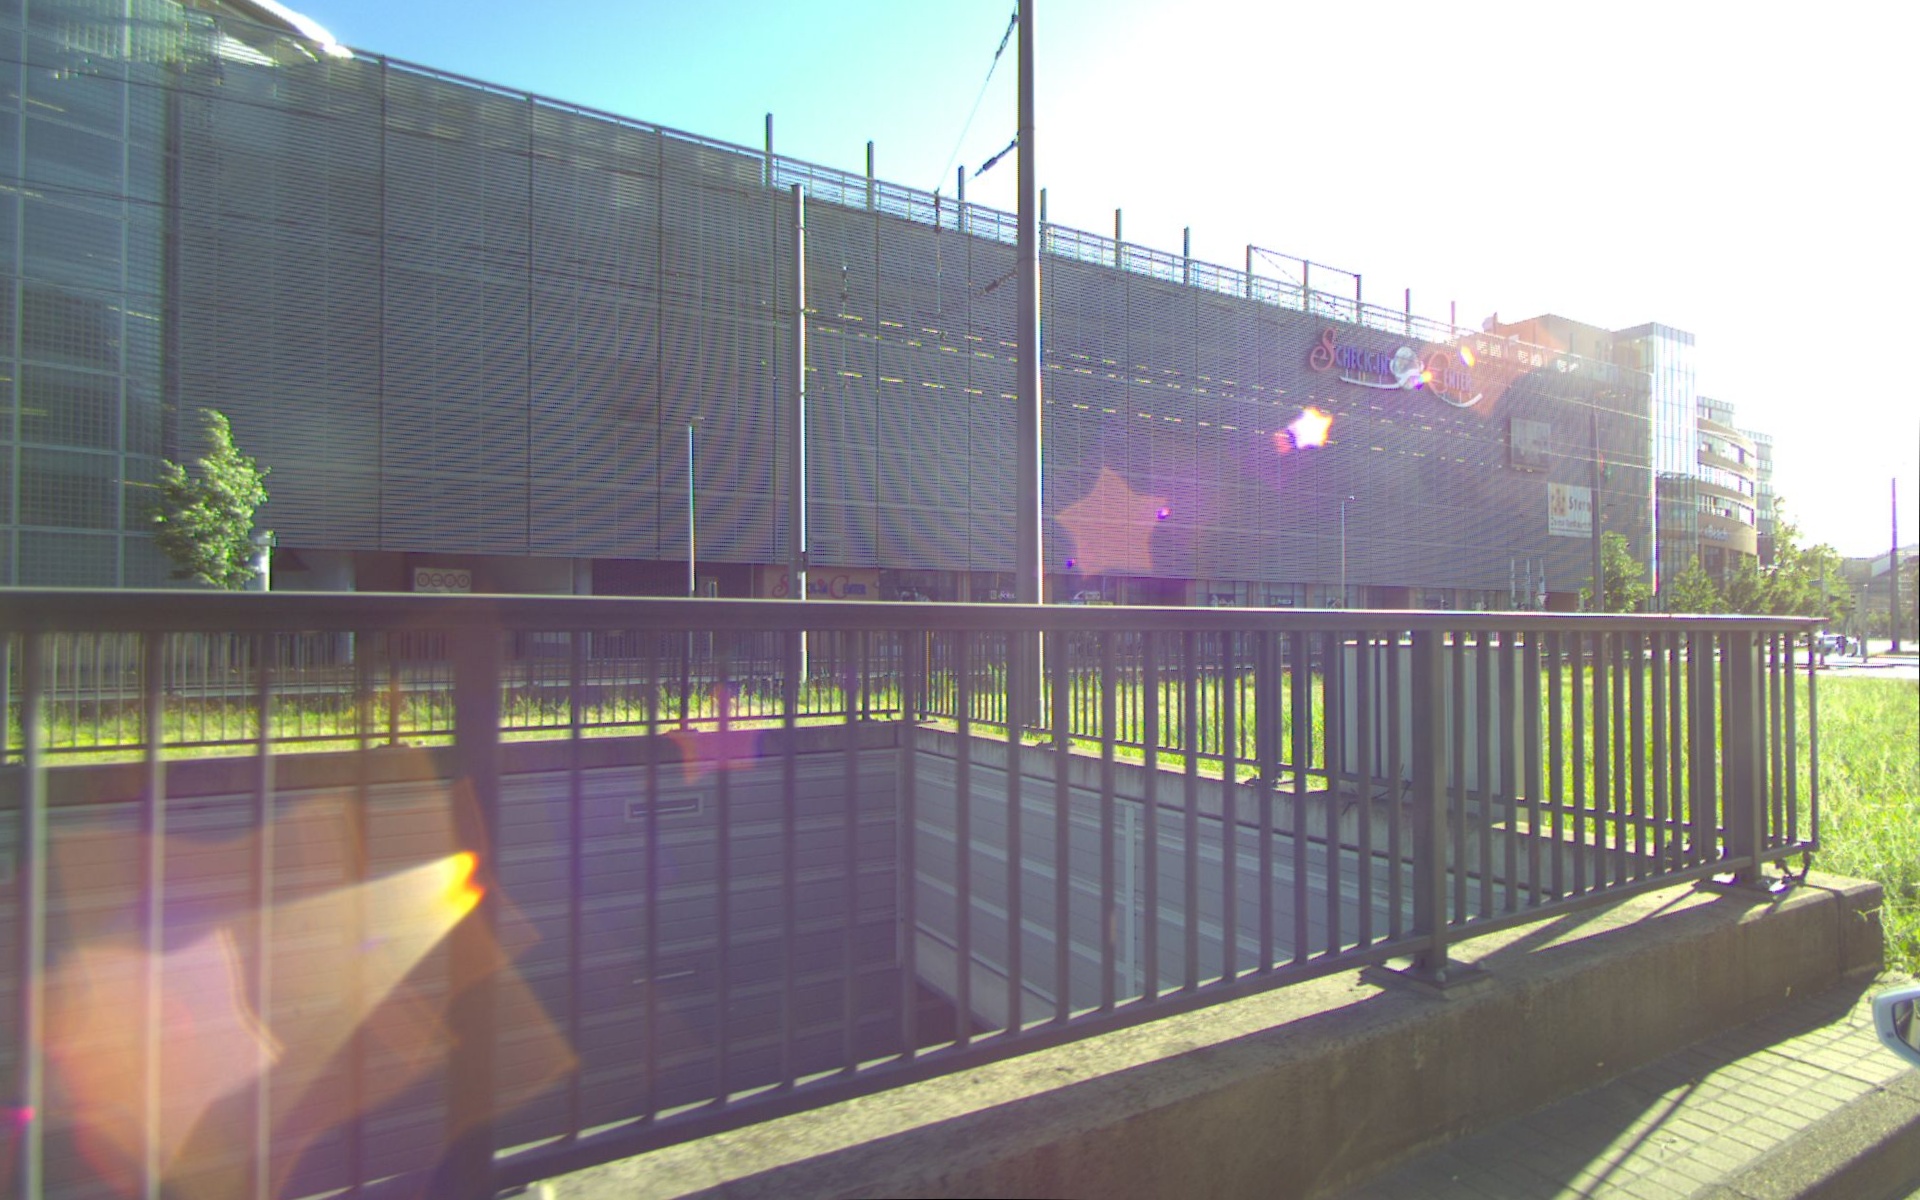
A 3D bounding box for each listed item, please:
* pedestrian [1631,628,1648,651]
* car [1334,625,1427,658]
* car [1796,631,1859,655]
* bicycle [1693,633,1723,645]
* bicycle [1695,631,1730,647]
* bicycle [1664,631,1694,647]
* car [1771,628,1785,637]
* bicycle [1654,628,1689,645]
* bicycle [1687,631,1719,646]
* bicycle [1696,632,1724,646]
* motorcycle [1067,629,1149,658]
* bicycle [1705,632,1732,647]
[{"bbox_3d":[56.918,3.309,84.120,0.894,1.848,0.823,2,-3,-28],"label":"pedestrian"},{"bbox_3d":[20.153,1.948,48.129,4.192,1.520,1.985,1,-1,-30],"label":"car"},{"bbox_3d":[59.390,2.922,68.731,4.478,1.566,1.984,1,-1,-31],"label":"car"},{"bbox_3d":[76.090,3.986,102.205,0.733,1.252,2.411,1,-3,-21],"label":"bicycle"},{"bbox_3d":[71.182,3.696,95.003,0.891,1.452,2.558,1,-3,-21],"label":"bicycle"},{"bbox_3d":[65.197,3.572,91.099,0.848,1.452,2.080,1,-3,-21],"label":"bicycle"},{"bbox_3d":[153.917,6.132,188.980,1.627,1.609,3.350,0,-2,33],"label":"car"},{"bbox_3d":[64.269,3.289,90.740,1.060,1.452,2.367,1,-3,-21],"label":"bicycle"},{"bbox_3d":[74.952,3.883,101.349,0.760,1.452,2.604,1,-3,-21],"label":"bicycle"},{"bbox_3d":[76.744,3.980,102.759,0.707,1.452,2.242,1,-3,-21],"label":"bicycle"},{"bbox_3d":[7.838,2.254,53.099,3.953,1.472,1.984,1,-2,-30],"label":"motorcycle"},{"bbox_3d":[78.426,4.086,103.876,0.747,1.452,2.135,1,-3,-21],"label":"bicycle"}]
